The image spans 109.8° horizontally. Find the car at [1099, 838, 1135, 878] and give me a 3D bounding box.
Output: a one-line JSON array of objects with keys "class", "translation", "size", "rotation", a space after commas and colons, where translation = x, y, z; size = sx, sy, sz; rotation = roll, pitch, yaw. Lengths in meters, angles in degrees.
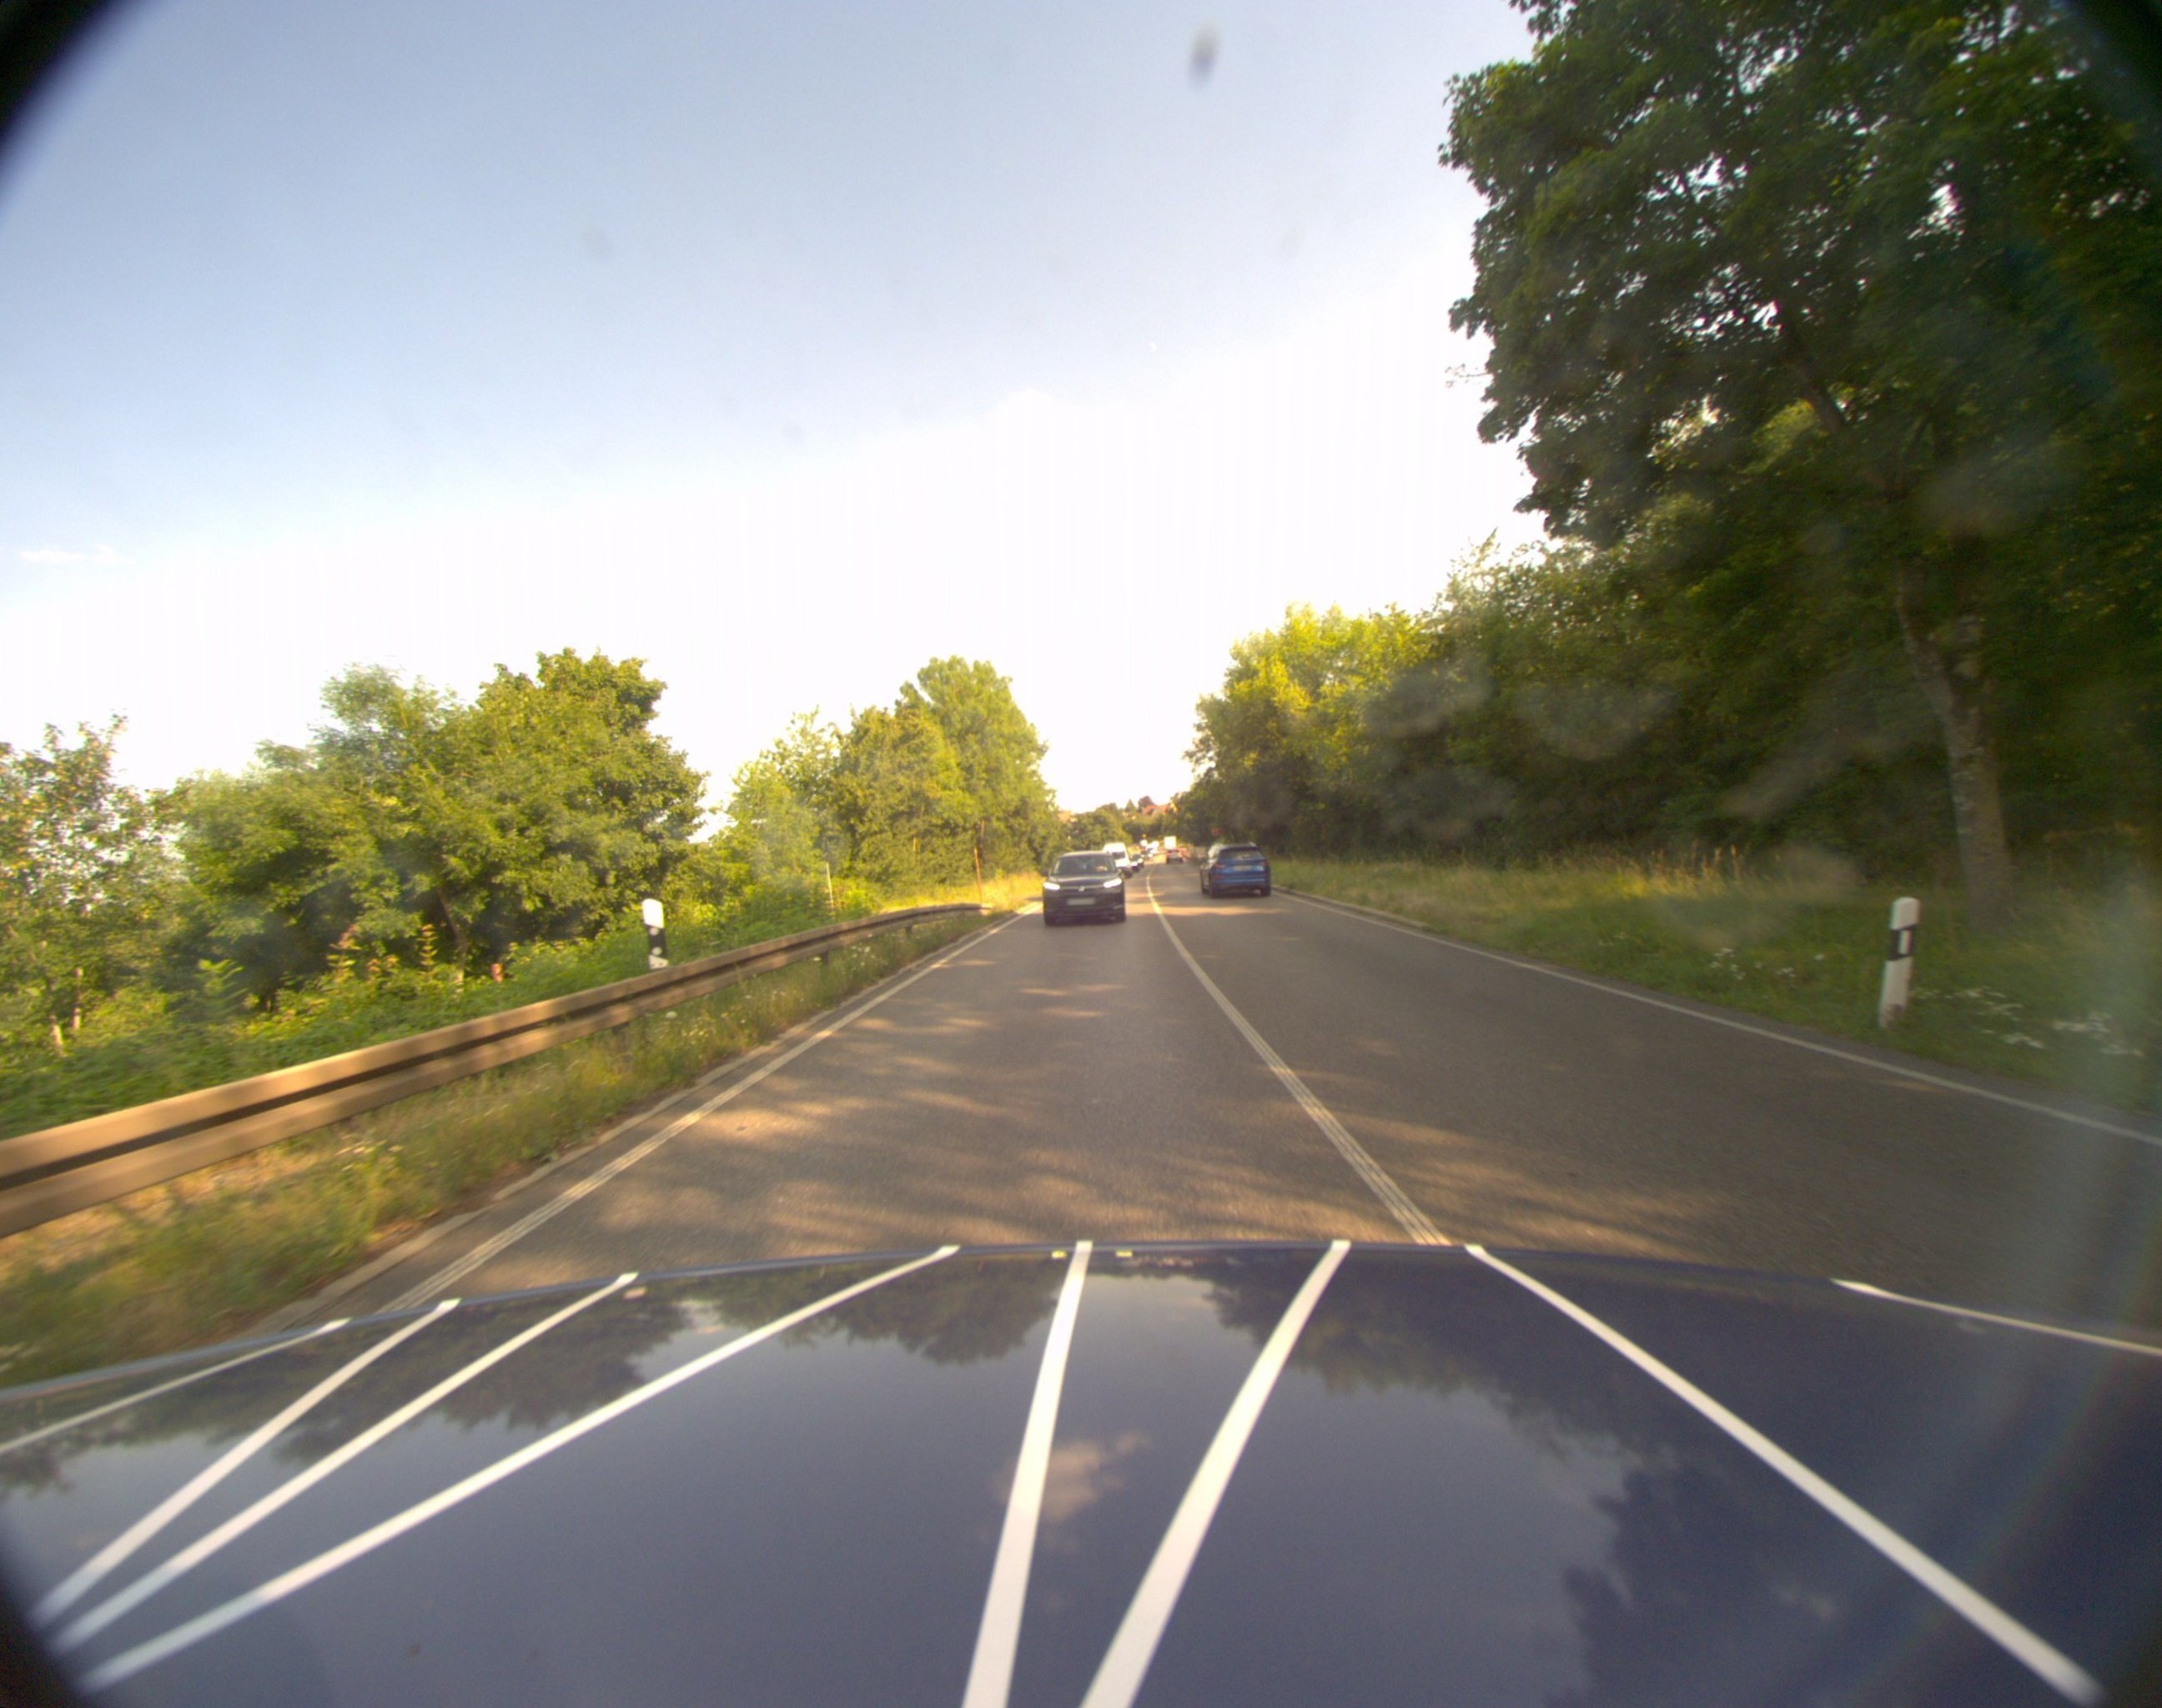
[{"class": "car", "translation": [2.387, 0.233, 49.296], "size": [2.087, 2.403, 5.143], "rotation": [-2, 1, 5]}]

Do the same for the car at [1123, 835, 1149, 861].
[{"class": "car", "translation": [5.552, -0.622, 76.988], "size": [2.088, 2.403, 5.141], "rotation": [-2, 1, -1]}]

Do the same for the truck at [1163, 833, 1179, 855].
[{"class": "truck", "translation": [21.450, -2.353, 180.939], "size": [3.630, 5.140, 10.465], "rotation": [-2, 0, 6]}]

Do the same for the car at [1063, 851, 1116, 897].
[{"class": "car", "translation": [0.280, 0.773, 31.637], "size": [1.923, 1.718, 4.701], "rotation": [-2, 0, -2]}]

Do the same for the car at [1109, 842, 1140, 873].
[{"class": "car", "translation": [3.548, 0.276, 62.940], "size": [2.088, 2.403, 5.141], "rotation": [-2, 1, -1]}]

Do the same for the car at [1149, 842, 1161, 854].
[{"class": "car", "translation": [15.869, -1.384, 162.505], "size": [2.087, 2.403, 5.145], "rotation": [-2, 1, 11]}]

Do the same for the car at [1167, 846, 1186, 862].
[{"class": "car", "translation": [10.297, -0.052, 82.001], "size": [1.894, 1.622, 4.253], "rotation": [-2, 1, 8]}]

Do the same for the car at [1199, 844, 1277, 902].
[{"class": "car", "translation": [4.924, 0.544, 24.420], "size": [1.901, 1.622, 4.252], "rotation": [-2, 1, 5]}]

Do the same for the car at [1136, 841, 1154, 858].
[{"class": "car", "translation": [9.322, -0.659, 110.312], "size": [2.087, 2.403, 5.145], "rotation": [-2, 1, 11]}]

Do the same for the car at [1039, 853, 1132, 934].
[{"class": "car", "translation": [0.033, 0.825, 18.520], "size": [1.923, 1.612, 4.700], "rotation": [-2, 1, -2]}]
